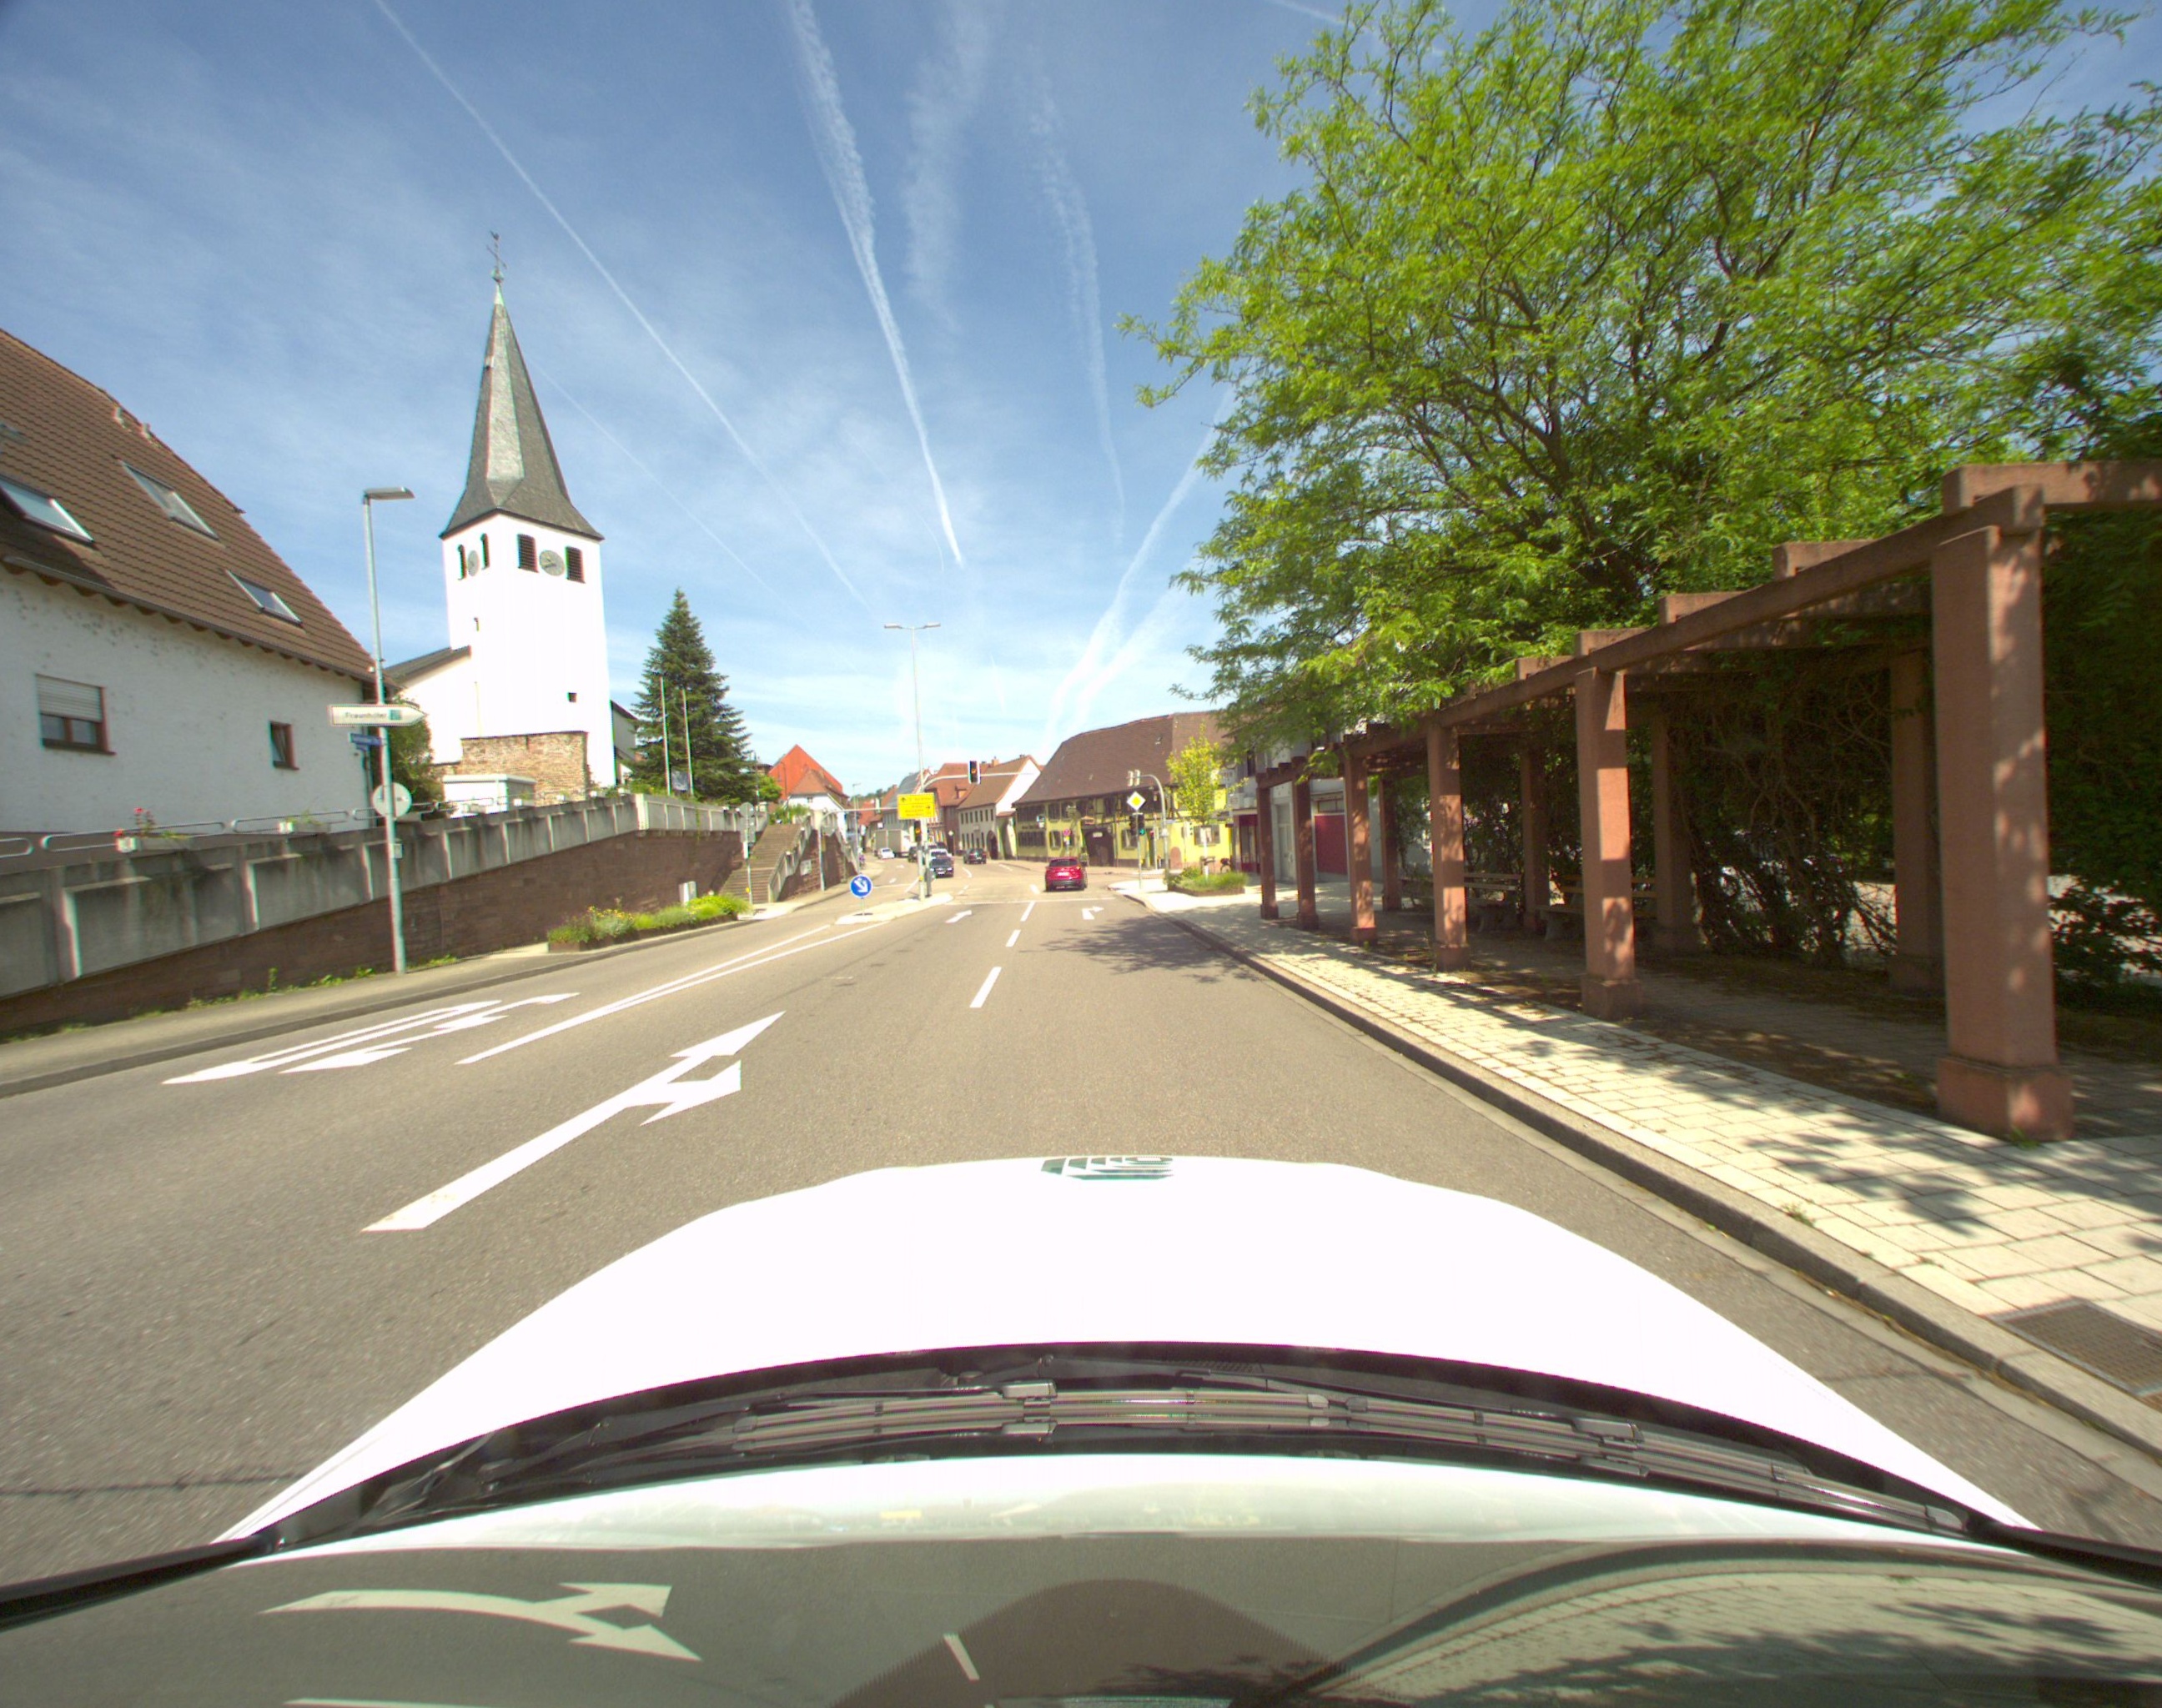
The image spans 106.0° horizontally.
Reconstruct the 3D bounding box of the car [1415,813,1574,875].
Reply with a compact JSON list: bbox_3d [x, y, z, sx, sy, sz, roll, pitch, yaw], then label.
[{"bbox_3d":[11.912,-0.286,23.604,3.687,1.510,1.724,-4,0,-1],"label":"car"}]

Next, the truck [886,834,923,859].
[{"bbox_3d":[-25.763,-1.079,118.645,3.239,3.549,9.153,-1,1,-25],"label":"truck"}]

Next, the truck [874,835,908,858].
[{"bbox_3d":[-29.904,-1.093,127.660,3.174,3.460,10.625,-1,0,-24],"label":"truck"}]

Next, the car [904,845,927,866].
[{"bbox_3d":[-18.933,0.164,93.039,1.765,2.246,4.518,-1,1,-23],"label":"car"}]

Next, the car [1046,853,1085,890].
[{"bbox_3d":[-0.764,0.834,40.019,1.799,1.663,3.810,-1,0,-1],"label":"car"}]

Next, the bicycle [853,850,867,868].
[{"bbox_3d":[-22.702,0.461,83.690,0.639,1.779,2.669,-1,1,-1],"label":"bicycle"}]

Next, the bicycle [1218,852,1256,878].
[{"bbox_3d":[8.145,0.564,42.468,1.799,1.234,0.549,-4,1,-2],"label":"bicycle"}]

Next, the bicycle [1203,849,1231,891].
[{"bbox_3d":[4.528,0.504,27.185,0.527,1.279,1.993,-6,1,2],"label":"bicycle"}]

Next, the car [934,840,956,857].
[{"bbox_3d":[-17.024,-0.721,101.832,1.854,2.013,3.970,-1,1,-23],"label":"car"}]

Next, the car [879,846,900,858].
[{"bbox_3d":[-26.989,-0.282,114.940,1.797,1.526,3.968,-4,2,-29],"label":"car"}]

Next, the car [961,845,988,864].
[{"bbox_3d":[-11.046,0.038,84.216,1.827,1.738,3.978,-4,2,-20],"label":"car"}]

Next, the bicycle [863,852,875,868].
[{"bbox_3d":[-21.635,0.569,83.150,0.556,1.607,2.561,-1,1,-1],"label":"bicycle"}]

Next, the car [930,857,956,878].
[{"bbox_3d":[-10.693,1.014,62.924,1.821,1.434,4.233,-3,1,-11],"label":"car"}]

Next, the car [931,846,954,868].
[{"bbox_3d":[-13.183,0.245,77.285,1.823,1.906,4.942,-3,2,-13],"label":"car"}]

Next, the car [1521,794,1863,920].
[{"bbox_3d":[10.026,0.041,13.545,4.474,1.544,1.722,-5,0,-5],"label":"car"}]

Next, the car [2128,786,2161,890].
[{"bbox_3d":[20.249,-0.365,13.310,4.167,1.740,1.881,-3,0,-5],"label":"car"}]
